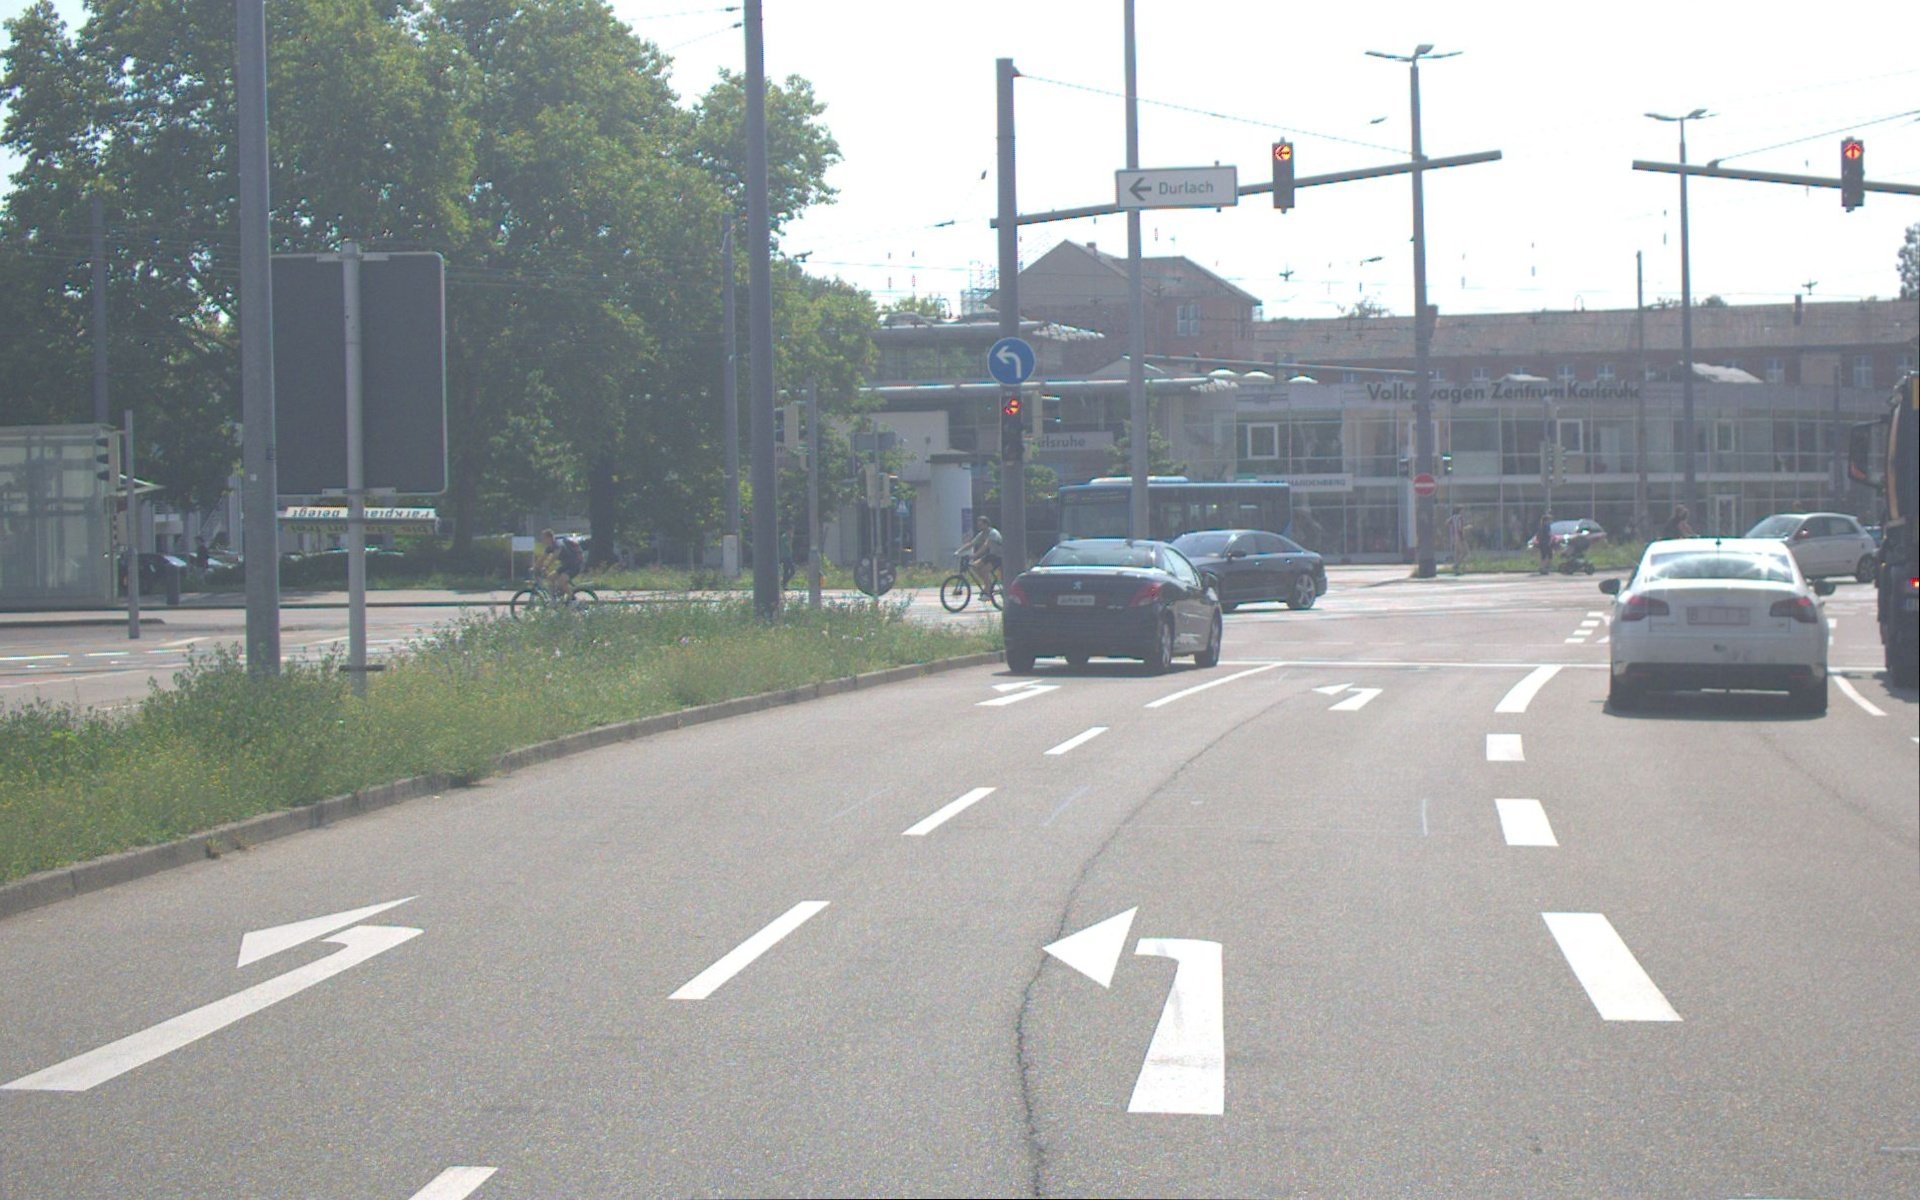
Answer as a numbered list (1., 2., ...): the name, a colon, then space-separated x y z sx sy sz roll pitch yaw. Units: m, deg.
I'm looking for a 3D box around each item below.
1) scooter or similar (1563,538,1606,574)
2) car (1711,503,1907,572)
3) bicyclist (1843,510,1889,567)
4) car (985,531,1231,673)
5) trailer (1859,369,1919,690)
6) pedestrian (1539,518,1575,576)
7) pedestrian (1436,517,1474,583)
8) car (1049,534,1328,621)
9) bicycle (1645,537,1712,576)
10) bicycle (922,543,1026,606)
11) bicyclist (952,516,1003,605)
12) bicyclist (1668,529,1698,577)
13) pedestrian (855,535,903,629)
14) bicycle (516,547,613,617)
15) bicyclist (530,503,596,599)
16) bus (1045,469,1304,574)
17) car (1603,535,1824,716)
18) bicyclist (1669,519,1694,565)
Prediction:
1. scooter or similar: 16.945 -1.190 93.264 0.835 0.971 0.793 -1 1 -27
2. car: 18.355 -1.355 74.268 4.053 1.420 1.776 -2 1 -32
3. bicyclist: 23.937 -1.621 90.823 0.903 1.496 0.865 -1 1 -7
4. car: 1.629 -0.021 36.490 1.759 1.399 3.978 0 1 15
5. trailer: 10.570 -0.712 35.004 2.464 2.997 6.322 1 2 13
6. pedestrian: 16.115 -1.424 92.829 0.635 1.555 0.748 -1 1 -26
7. pedestrian: 13.351 -1.353 92.644 0.784 1.746 0.807 0 1 27
8. car: 4.066 -0.415 61.054 4.549 1.433 2.000 -1 1 -27
9. bicycle: 18.521 -1.113 88.618 1.593 0.981 0.506 0 1 28
10. bicycle: 0.264 -0.481 64.481 2.038 1.133 0.698 -2 1 -45
11. bicyclist: 0.331 -0.740 64.531 0.618 1.644 0.692 -2 2 -44
12. bicyclist: 18.945 -1.240 90.109 0.594 1.243 0.507 -1 1 -15
13. pedestrian: -1.114 -0.251 47.346 0.595 1.264 0.505 -1 3 -7
14. bicycle: -6.905 -0.321 59.889 0.972 1.174 2.833 -1 1 -21
15. bicyclist: -6.911 -0.862 59.882 0.972 1.648 0.662 -1 1 -21
16. bus: 6.563 -2.342 102.333 3.058 2.921 11.835 0 1 28
17. car: 6.665 0.163 30.304 1.759 1.450 4.423 0 1 13
18. bicyclist: 18.592 -1.502 88.577 0.504 1.184 0.506 0 1 28
